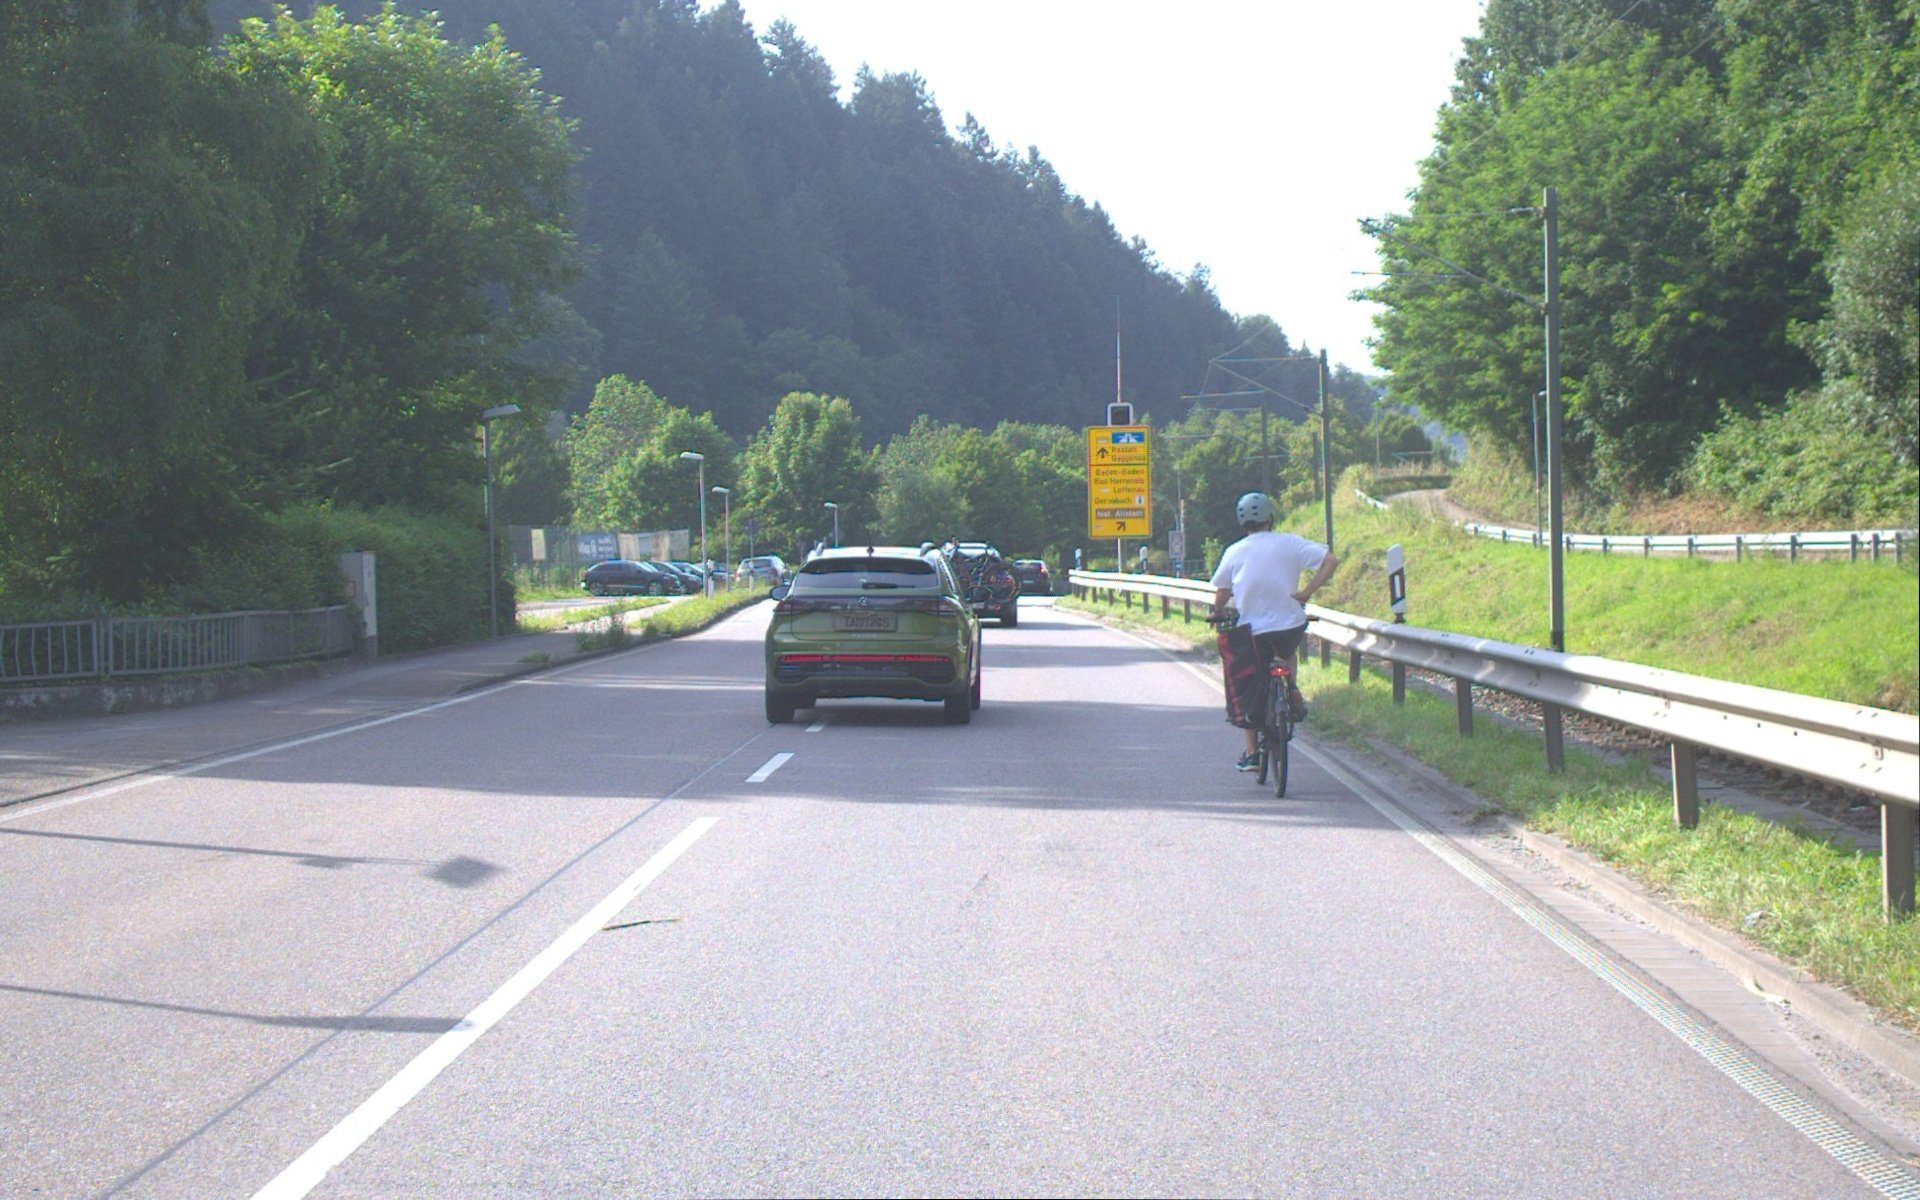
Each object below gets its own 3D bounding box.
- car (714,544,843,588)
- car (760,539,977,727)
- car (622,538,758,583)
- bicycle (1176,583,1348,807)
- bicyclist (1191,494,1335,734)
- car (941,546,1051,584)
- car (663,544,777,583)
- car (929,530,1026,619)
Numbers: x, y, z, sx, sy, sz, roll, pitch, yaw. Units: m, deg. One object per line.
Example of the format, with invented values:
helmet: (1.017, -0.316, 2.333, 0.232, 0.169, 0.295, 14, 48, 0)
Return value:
car: (-6.211, -1.168, 117.940, 4.259, 1.428, 1.557, -1, 1, 2)
car: (-0.725, 0.233, 29.712, 1.739, 1.503, 4.000, 0, 1, 0)
car: (-8.822, -1.293, 112.474, 4.259, 1.428, 1.557, -1, 1, 2)
bicycle: (1.792, 0.537, 20.700, 0.811, 1.246, 2.123, -1, 1, -1)
bicyclist: (1.802, 0.076, 20.551, 0.782, 1.407, 0.675, -1, 1, -1)
car: (1.429, -1.391, 135.204, 4.259, 1.428, 1.557, -1, 1, 2)
car: (-9.298, -1.419, 133.351, 4.259, 1.428, 1.557, -1, 1, 2)
car: (0.321, -0.504, 63.906, 1.739, 1.596, 4.000, 0, 1, 0)
